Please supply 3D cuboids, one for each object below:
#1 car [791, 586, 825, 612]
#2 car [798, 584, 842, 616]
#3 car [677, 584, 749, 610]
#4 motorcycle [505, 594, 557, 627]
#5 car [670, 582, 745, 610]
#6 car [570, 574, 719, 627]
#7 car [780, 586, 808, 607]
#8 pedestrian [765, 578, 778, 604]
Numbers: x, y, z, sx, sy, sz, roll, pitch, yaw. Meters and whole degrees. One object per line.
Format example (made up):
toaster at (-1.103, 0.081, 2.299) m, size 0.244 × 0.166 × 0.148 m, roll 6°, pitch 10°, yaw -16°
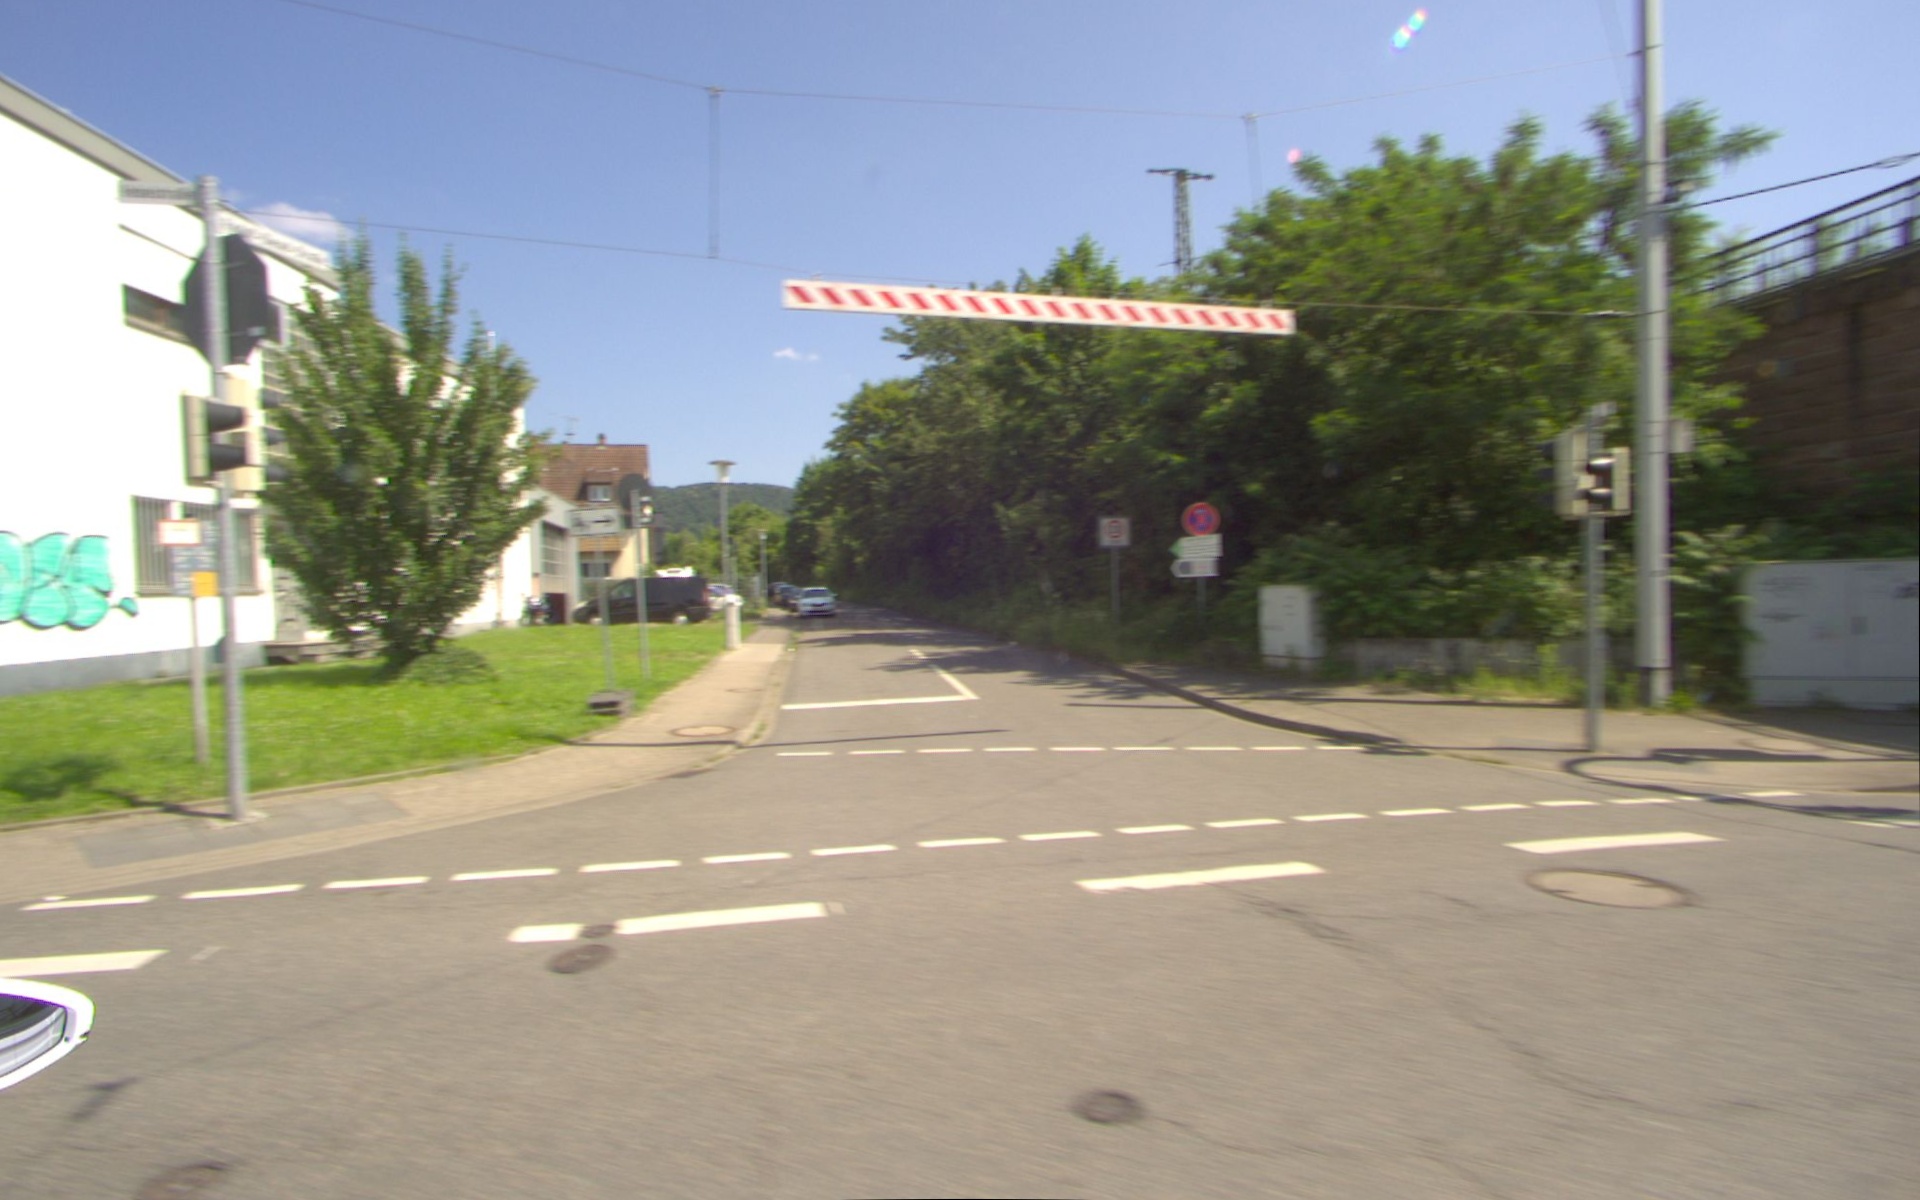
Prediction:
car at (-8.973, -0.061, 59.355) m, size 1.881 × 1.418 × 3.730 m, roll -2°, pitch 1°, yaw -8°
car at (-7.032, -0.012, 49.867) m, size 2.054 × 1.530 × 4.535 m, roll 1°, pitch 1°, yaw -9°
car at (-13.528, -0.156, 55.022) m, size 3.662 × 1.389 × 1.603 m, roll 1°, pitch 0°, yaw -8°
motorcycle at (-13.977, 0.354, 32.702) m, size 0.838 × 1.045 × 2.566 m, roll 1°, pitch -1°, yaw -6°
car at (-13.164, -0.206, 52.408) m, size 3.662 × 1.389 × 1.604 m, roll 1°, pitch -1°, yaw -8°
car at (-11.938, 0.009, 38.227) m, size 5.166 × 1.840 × 1.998 m, roll -2°, pitch 1°, yaw -11°
car at (-11.731, -0.231, 71.025) m, size 1.881 × 1.418 × 3.730 m, roll -1°, pitch 1°, yaw -8°
pedestrian at (-13.381, -0.644, 71.112) m, size 0.862 × 1.786 × 0.730 m, roll 1°, pitch 0°, yaw -10°
